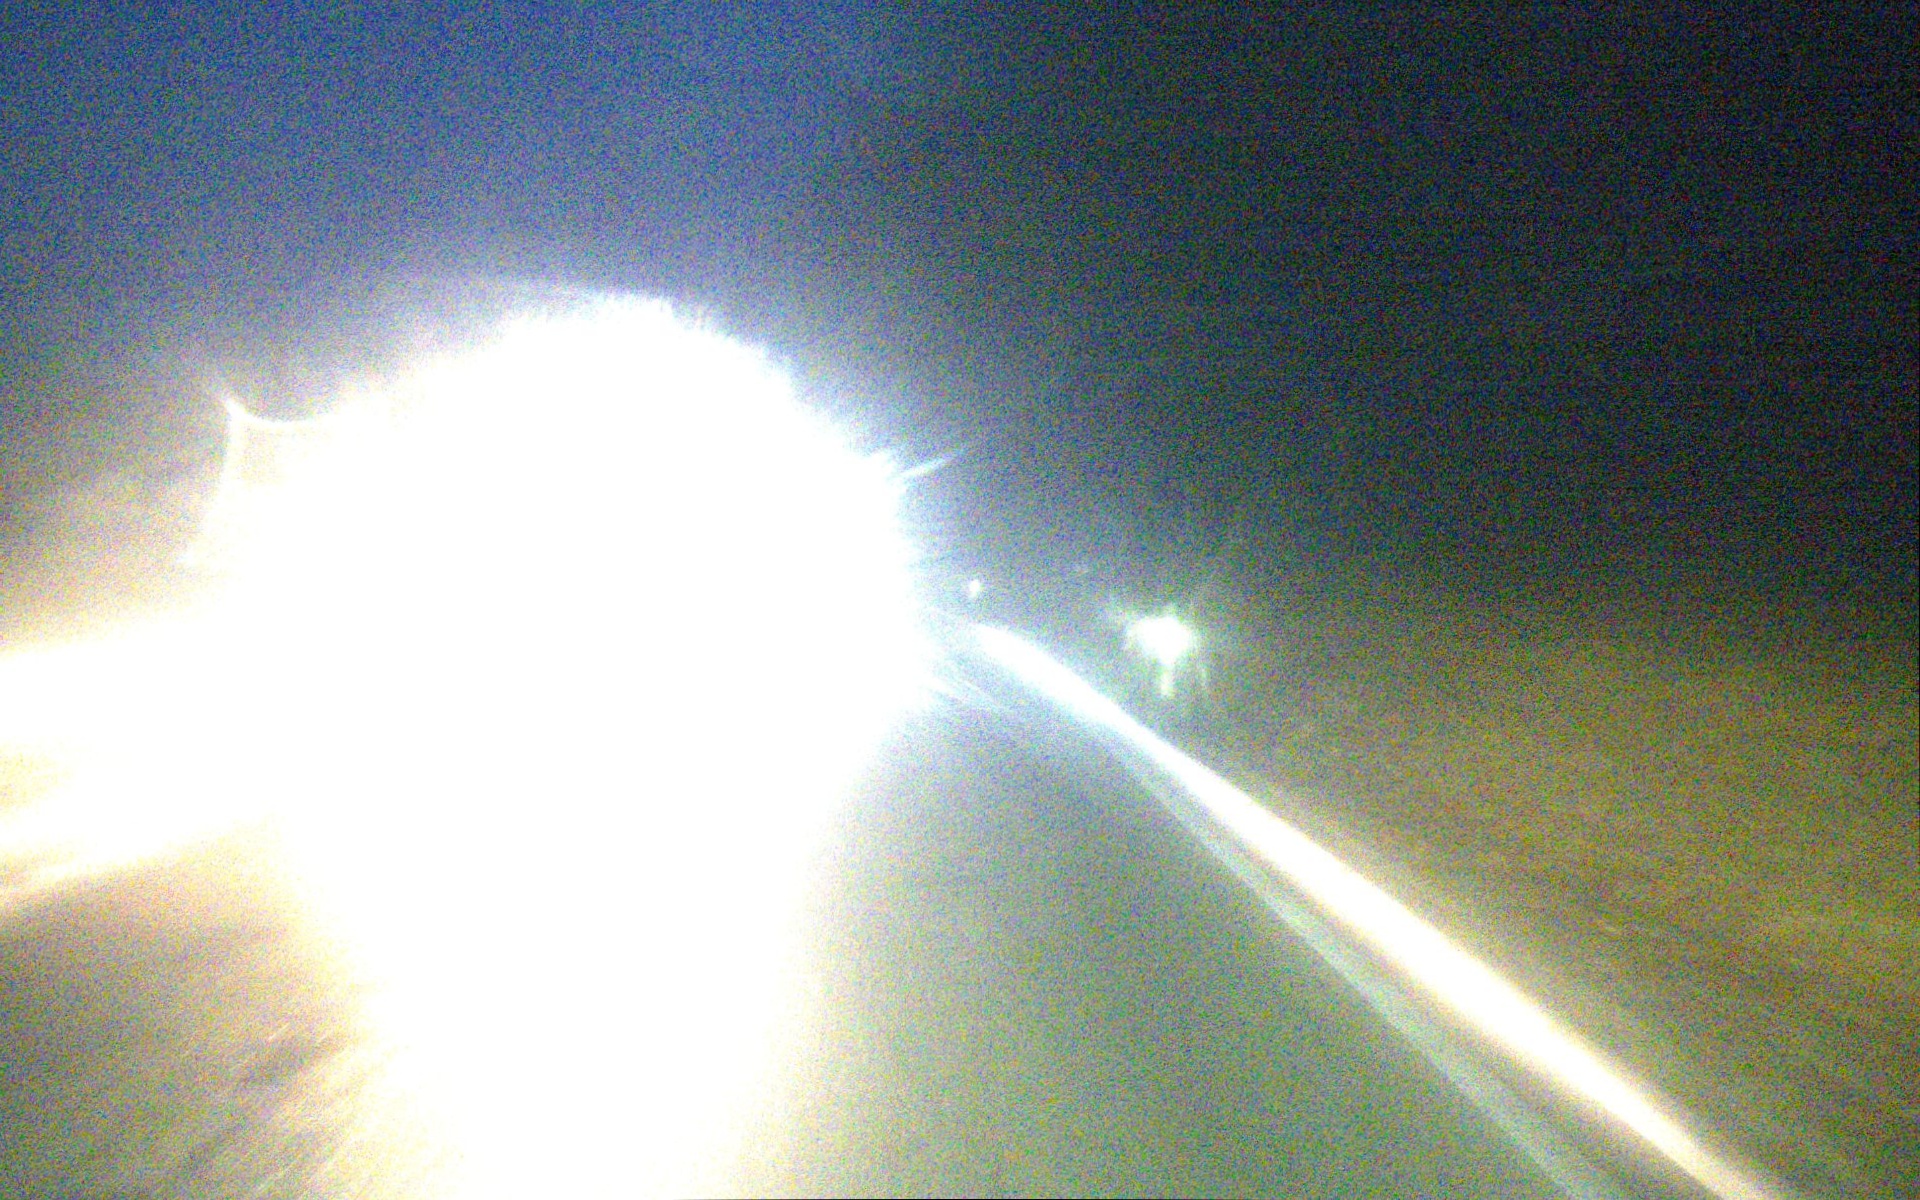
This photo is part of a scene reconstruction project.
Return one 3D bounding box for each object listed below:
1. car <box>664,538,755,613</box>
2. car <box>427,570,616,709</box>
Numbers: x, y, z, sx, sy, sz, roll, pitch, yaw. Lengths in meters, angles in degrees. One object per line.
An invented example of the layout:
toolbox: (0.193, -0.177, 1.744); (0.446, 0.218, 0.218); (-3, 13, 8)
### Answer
car: (-5.390, -0.532, 74.317); (1.817, 1.550, 3.872); (-1, 1, -2)
car: (-4.612, 0.383, 36.550); (1.581, 1.381, 3.585); (1, 1, -1)
